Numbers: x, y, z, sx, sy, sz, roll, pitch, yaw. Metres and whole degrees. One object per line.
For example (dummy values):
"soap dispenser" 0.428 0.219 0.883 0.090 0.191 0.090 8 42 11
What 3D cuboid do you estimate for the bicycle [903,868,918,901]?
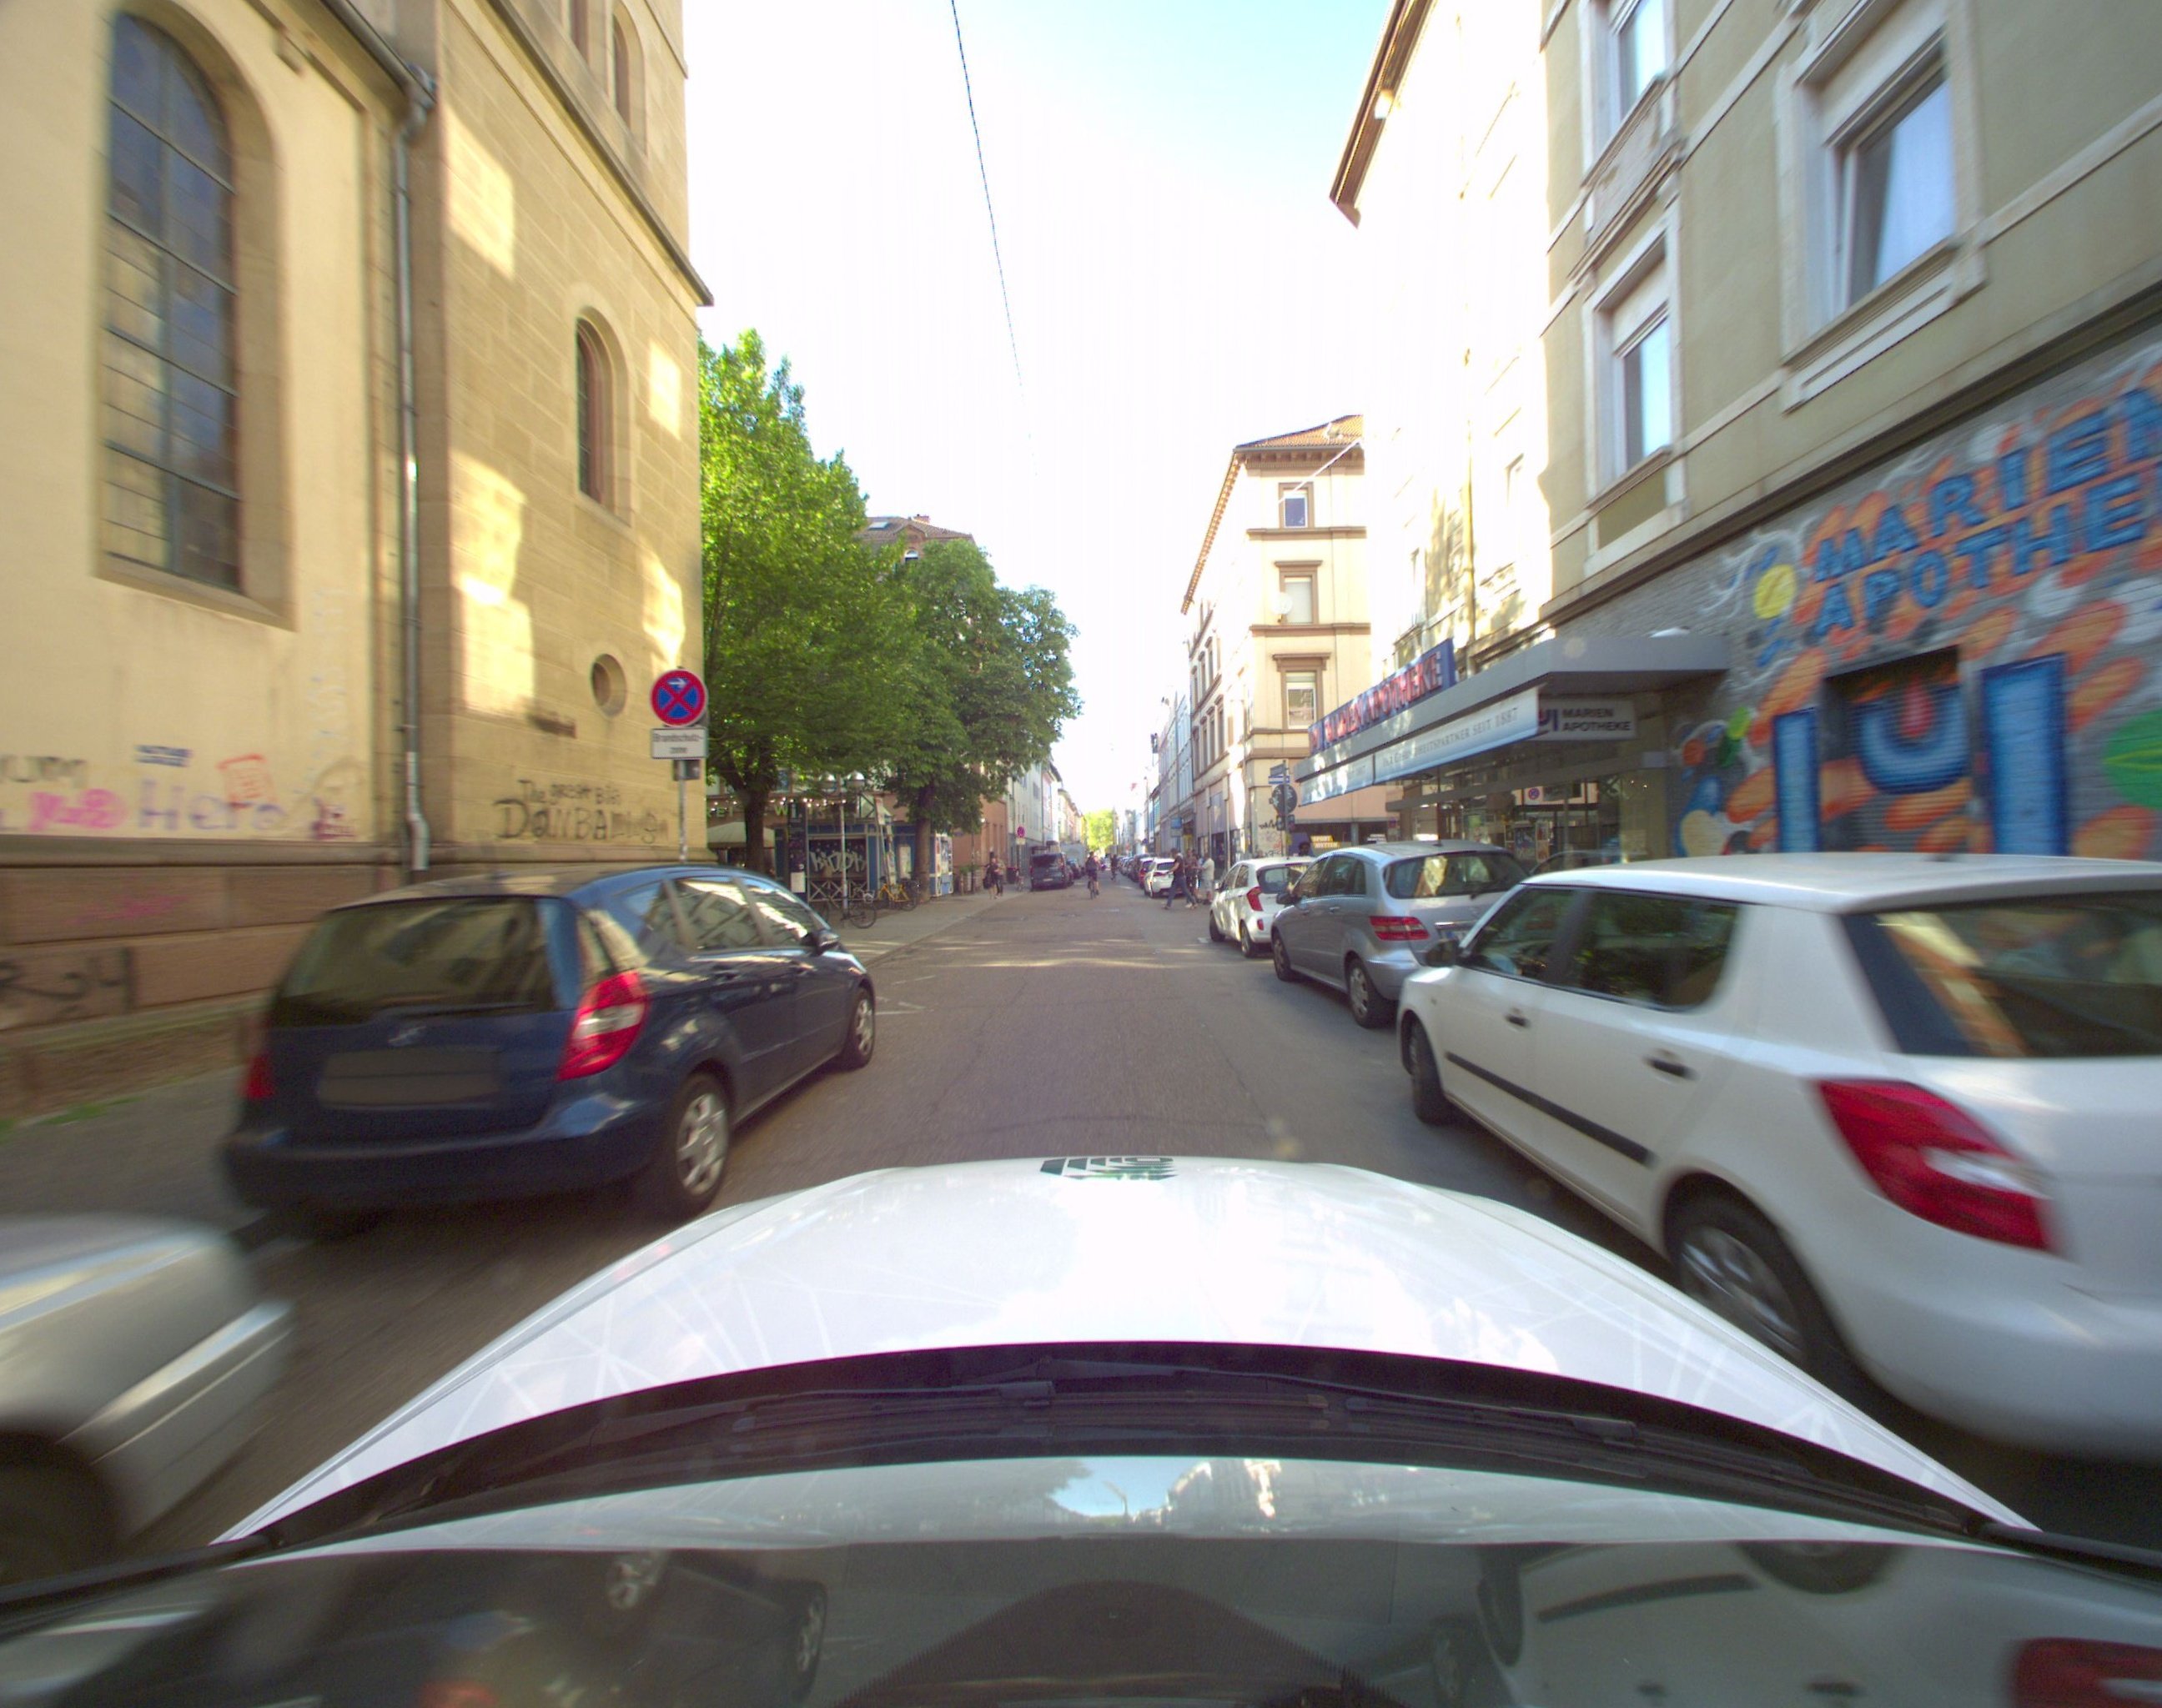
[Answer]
"bicycle" -6.208 1.091 29.680 0.497 1.131 2.029 0 0 -12

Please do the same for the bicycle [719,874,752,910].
"bicycle" -11.456 1.235 27.016 0.227 1.091 1.938 0 1 1

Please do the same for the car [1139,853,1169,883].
"car" 4.176 0.817 46.922 1.563 1.557 3.317 -4 -1 3

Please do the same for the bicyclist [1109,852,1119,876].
"bicyclist" 2.184 0.672 53.705 0.668 1.567 0.716 0 -1 2

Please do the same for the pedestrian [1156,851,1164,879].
"pedestrian" 4.837 0.674 49.845 0.439 1.704 0.655 0 -1 2

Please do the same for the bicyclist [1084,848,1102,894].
"bicyclist" 0.460 0.641 30.665 0.665 1.677 1.097 0 -1 1

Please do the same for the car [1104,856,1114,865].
"car" 4.846 1.145 142.363 1.605 1.560 3.611 -1 0 1

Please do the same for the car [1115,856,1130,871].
"car" 5.501 1.238 108.649 1.745 1.879 3.970 -2 -1 -1

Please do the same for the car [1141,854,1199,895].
"car" 3.422 0.781 32.078 1.781 1.516 4.134 0 -1 -1

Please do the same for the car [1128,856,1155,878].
"car" 4.281 0.906 57.891 1.548 1.511 3.609 0 -1 -1

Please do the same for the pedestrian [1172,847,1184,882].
"pedestrian" 4.825 0.531 40.574 0.559 1.740 0.428 0 -1 2

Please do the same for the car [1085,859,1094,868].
"car" 1.723 1.896 165.455 1.744 1.683 3.796 -2 -1 1

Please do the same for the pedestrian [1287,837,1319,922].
"pedestrian" 5.031 0.578 18.471 0.560 1.894 0.530 0 -1 1

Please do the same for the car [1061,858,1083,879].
"car" -0.800 1.232 71.664 1.711 1.650 4.246 -4 0 1

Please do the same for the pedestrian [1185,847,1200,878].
"pedestrian" 6.272 0.493 45.788 0.629 1.740 0.656 0 -1 -12

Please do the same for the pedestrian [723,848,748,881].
"pedestrian" -14.013 0.436 33.037 0.693 1.321 0.614 0 -1 9

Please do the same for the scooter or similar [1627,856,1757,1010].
"scooter or similar" 5.436 0.665 7.304 0.393 1.280 1.037 0 -1 1

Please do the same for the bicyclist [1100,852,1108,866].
"bicyclist" 2.799 0.567 98.337 0.947 1.628 0.953 -3 -1 2

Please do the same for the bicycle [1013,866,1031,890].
"bicycle" -3.035 1.210 41.658 0.551 1.216 1.977 0 -1 -16

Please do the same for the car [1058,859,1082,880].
"car" -0.853 1.249 66.096 1.711 1.478 4.499 -4 0 1

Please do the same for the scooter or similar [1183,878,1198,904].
"scooter or similar" 3.580 1.191 26.603 0.392 0.828 0.926 0 -1 2

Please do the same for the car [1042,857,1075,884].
"car" -1.335 1.008 49.926 1.744 1.522 3.870 -4 -1 1

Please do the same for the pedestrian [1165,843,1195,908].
"pedestrian" 2.856 0.609 23.568 0.691 1.825 1.003 -1 0 0

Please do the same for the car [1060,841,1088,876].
"car" -0.632 0.525 82.596 2.334 3.291 7.157 -3 -1 2

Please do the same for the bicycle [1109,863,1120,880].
"bicycle" 2.193 1.148 53.804 0.646 1.129 2.136 0 -1 1

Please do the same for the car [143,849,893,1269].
"car" -2.542 0.793 4.958 1.787 1.552 3.835 0 -1 2

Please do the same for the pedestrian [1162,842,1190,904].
"pedestrian" 2.863 0.581 24.515 0.759 1.835 0.688 0 -1 -1

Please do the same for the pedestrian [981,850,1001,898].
"pedestrian" -3.575 0.782 32.341 0.714 1.873 0.720 0 -1 1

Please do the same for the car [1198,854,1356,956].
"car" 3.081 0.763 13.554 1.684 1.463 3.638 0 -1 -1

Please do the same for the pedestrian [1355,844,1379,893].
"pedestrian" 10.239 0.508 29.142 0.688 1.726 0.475 0 -1 0

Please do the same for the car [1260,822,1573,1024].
"car" 3.204 0.598 8.723 1.694 1.650 4.063 0 -1 0

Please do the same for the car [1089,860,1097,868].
"car" 2.724 2.228 183.321 1.744 1.821 3.796 -2 -1 1

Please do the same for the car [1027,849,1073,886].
"car" -1.628 0.704 44.502 2.012 1.879 5.300 0 0 3

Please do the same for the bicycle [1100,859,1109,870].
"bicycle" 2.848 1.236 98.367 0.973 1.314 2.557 -3 0 3

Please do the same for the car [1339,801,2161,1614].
"car" 2.531 0.694 3.638 1.548 1.526 4.202 0 -1 2

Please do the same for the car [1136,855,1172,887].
"car" 3.716 0.890 42.071 1.601 1.572 3.554 0 -1 1

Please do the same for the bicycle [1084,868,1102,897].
"bicycle" 0.453 1.051 30.640 0.674 1.074 1.942 0 -1 1

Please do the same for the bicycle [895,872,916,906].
"bicycle" -5.762 1.126 26.776 0.291 1.046 1.579 0 0 2

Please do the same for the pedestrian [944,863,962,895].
"pedestrian" -5.823 1.123 36.957 0.703 1.445 0.617 0 -1 0

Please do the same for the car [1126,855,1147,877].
"car" 4.451 0.998 65.925 1.551 1.712 3.559 0 -1 1

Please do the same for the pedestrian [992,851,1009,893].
"pedestrian" -3.588 0.805 36.497 0.644 1.834 0.697 1 -1 1

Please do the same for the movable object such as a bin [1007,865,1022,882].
"movable object such as a bin" -4.229 1.261 51.632 0.752 1.067 0.655 -1 -1 21

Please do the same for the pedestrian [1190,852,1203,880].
"pedestrian" 6.396 0.654 45.029 0.586 1.530 0.658 0 -1 -4

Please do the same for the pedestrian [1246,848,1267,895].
"pedestrian" 6.318 0.625 29.329 0.593 1.650 0.468 -1 2 32

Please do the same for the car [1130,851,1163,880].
"car" 4.205 0.744 52.636 1.892 1.793 4.315 0 -1 1

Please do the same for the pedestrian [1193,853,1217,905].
"pedestrian" 3.927 0.780 25.794 0.568 1.638 0.522 1 -2 -45

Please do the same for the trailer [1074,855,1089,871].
"trailer" 0.076 1.291 112.056 1.875 2.092 3.738 -2 -1 1

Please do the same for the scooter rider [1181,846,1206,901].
"scooter rider" 3.717 0.632 26.904 0.558 1.778 0.615 -1 -2 36

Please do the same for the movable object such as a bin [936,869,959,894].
"movable object such as a bin" -5.798 1.200 35.468 0.866 1.086 0.774 0 -1 2

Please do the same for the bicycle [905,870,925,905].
"bicycle" -5.439 1.087 26.768 0.291 1.082 1.579 0 0 2

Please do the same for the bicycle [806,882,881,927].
"bicycle" -5.733 1.208 19.696 1.684 1.065 0.346 0 -1 -1

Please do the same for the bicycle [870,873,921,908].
"bicycle" -5.820 1.129 25.563 1.563 1.082 0.348 0 -1 11

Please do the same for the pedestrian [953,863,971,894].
"pedestrian" -5.520 1.139 37.769 0.703 1.445 0.617 0 -1 0

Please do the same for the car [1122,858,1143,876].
"car" 4.863 1.207 76.877 1.680 1.543 4.046 -3 -1 1
